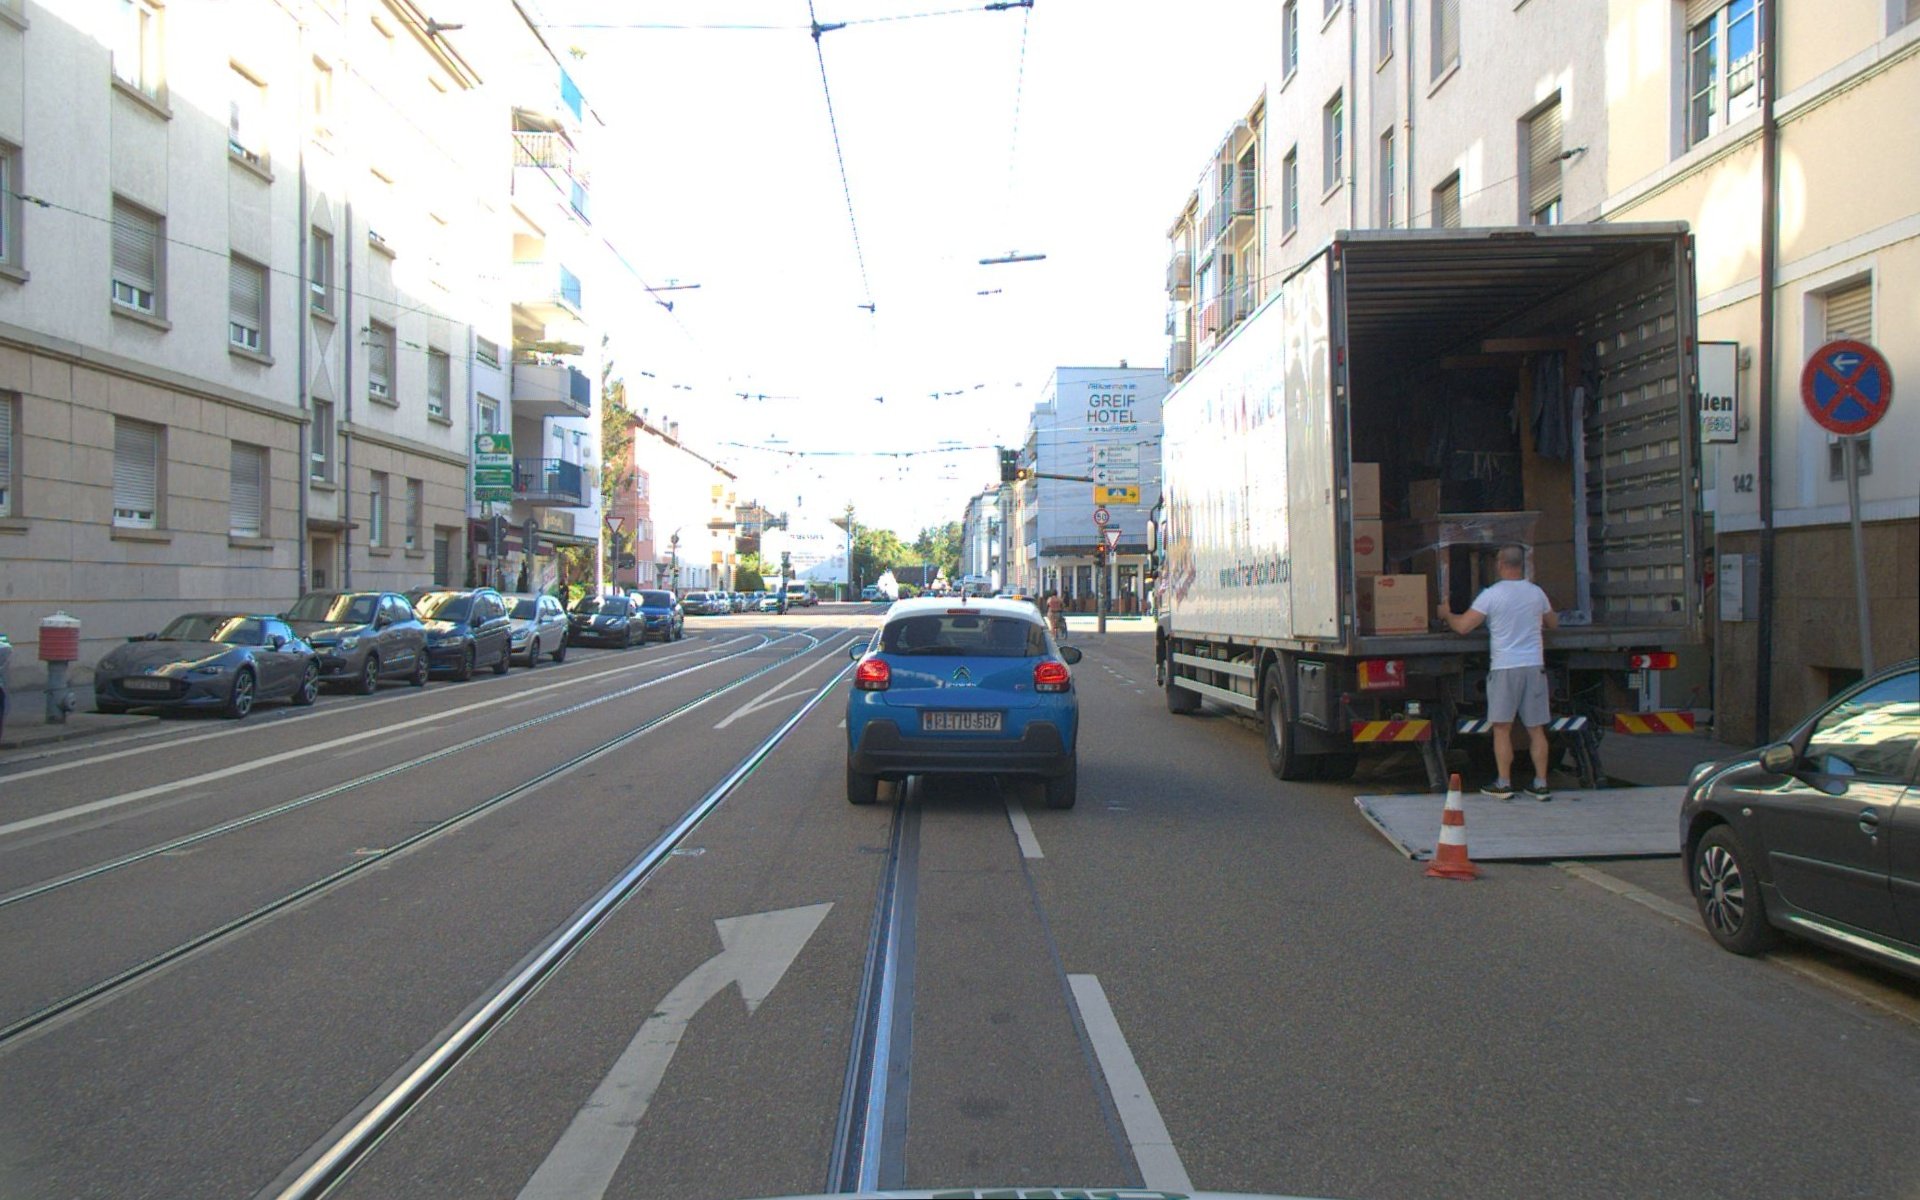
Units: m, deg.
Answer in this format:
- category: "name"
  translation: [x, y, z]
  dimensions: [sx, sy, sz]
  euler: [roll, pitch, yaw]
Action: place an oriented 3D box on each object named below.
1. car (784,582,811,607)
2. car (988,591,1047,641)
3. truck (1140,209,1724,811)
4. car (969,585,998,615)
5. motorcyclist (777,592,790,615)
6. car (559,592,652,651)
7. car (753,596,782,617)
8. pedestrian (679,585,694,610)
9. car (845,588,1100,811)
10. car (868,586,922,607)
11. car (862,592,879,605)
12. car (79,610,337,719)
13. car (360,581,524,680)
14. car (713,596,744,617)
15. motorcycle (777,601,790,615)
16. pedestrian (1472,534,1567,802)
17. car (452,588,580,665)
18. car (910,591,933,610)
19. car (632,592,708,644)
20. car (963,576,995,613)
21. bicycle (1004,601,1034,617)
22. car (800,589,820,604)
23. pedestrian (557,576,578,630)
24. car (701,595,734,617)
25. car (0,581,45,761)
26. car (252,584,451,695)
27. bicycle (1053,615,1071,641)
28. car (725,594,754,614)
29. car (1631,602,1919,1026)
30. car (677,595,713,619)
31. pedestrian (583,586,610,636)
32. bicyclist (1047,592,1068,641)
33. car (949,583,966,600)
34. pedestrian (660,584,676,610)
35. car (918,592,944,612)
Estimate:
- category: "car"
  translation: [-15.358, -0.539, 156.662]
  dimensions: [2.162, 2.290, 4.675]
  euler: [0, 0, -2]
- category: "car"
  translation: [1.734, 0.445, 50.091]
  dimensions: [1.702, 1.445, 4.001]
  euler: [0, 0, 2]
- category: "truck"
  translation: [3.900, -0.658, 17.304]
  dimensions: [2.801, 4.144, 11.779]
  euler: [0, 0, 0]
- category: "car"
  translation: [1.453, 0.004, 104.136]
  dimensions: [1.697, 1.780, 3.213]
  euler: [1, 0, -1]
- category: "motorcyclist"
  translation: [-11.116, 0.222, 104.212]
  dimensions: [0.704, 1.402, 0.912]
  euler: [0, 0, 2]
- category: "car"
  translation: [-9.920, 0.590, 46.551]
  dimensions: [1.665, 1.536, 4.311]
  euler: [2, 0, -1]
- category: "car"
  translation: [-14.923, 0.484, 128.287]
  dimensions: [1.812, 1.601, 4.399]
  euler: [1, 0, -2]
- category: "pedestrian"
  translation: [-18.886, -0.168, 114.125]
  dimensions: [0.826, 1.720, 0.738]
  euler: [0, 0, 5]
- category: "car"
  translation: [-0.038, 0.673, 13.299]
  dimensions: [1.709, 1.488, 3.997]
  euler: [2, 0, -4]
- category: "car"
  translation: [-5.224, -0.278, 132.239]
  dimensions: [3.906, 1.668, 1.814]
  euler: [0, 0, 23]
- category: "car"
  translation: [-11.203, -0.192, 206.610]
  dimensions: [1.980, 1.552, 3.999]
  euler: [0, 0, -2]
- category: "car"
  translation: [-9.563, 0.772, 21.370]
  dimensions: [1.665, 1.237, 3.784]
  euler: [2, 0, -2]
- category: "car"
  translation: [-9.484, 0.541, 30.612]
  dimensions: [1.665, 1.644, 4.243]
  euler: [2, 0, -1]
- category: "car"
  translation: [-17.257, 0.473, 123.301]
  dimensions: [1.872, 1.523, 3.999]
  euler: [0, 0, -2]
- category: "motorcycle"
  translation: [-11.121, 0.514, 104.367]
  dimensions: [0.603, 0.879, 1.671]
  euler: [0, 0, 2]
- category: "pedestrian"
  translation: [3.831, 0.456, 11.344]
  dimensions: [0.502, 1.806, 0.415]
  euler: [0, 0, -1]
- category: "car"
  translation: [-9.672, 0.571, 36.347]
  dimensions: [1.665, 1.536, 4.385]
  euler: [2, 0, -1]
- category: "car"
  translation: [-3.450, 0.016, 148.067]
  dimensions: [1.953, 1.646, 3.999]
  euler: [1, 0, -1]
- category: "car"
  translation: [-9.191, 0.558, 52.648]
  dimensions: [1.709, 1.536, 3.999]
  euler: [2, 0, -1]
- category: "car"
  translation: [1.214, -0.345, 109.067]
  dimensions: [1.953, 2.366, 3.999]
  euler: [1, 0, -1]
- category: "bicycle"
  translation: [3.718, 0.551, 103.572]
  dimensions: [1.834, 0.973, 0.702]
  euler: [0, 0, 4]
- category: "car"
  translation: [-16.465, -0.397, 182.052]
  dimensions: [1.980, 1.552, 3.999]
  euler: [0, 0, -2]
- category: "pedestrian"
  translation: [-14.844, 0.119, 62.596]
  dimensions: [0.673, 2.049, 0.486]
  euler: [0, 0, -4]
- category: "car"
  translation: [-17.063, 0.405, 116.505]
  dimensions: [1.872, 1.523, 3.999]
  euler: [0, 0, -2]
- category: "car"
  translation: [-9.327, 0.641, 13.165]
  dimensions: [1.664, 1.595, 4.405]
  euler: [0, 0, -1]
- category: "car"
  translation: [-9.597, 0.595, 26.408]
  dimensions: [1.665, 1.596, 3.999]
  euler: [2, 0, -1]
- category: "bicycle"
  translation: [3.525, 0.968, 57.160]
  dimensions: [0.488, 0.879, 1.749]
  euler: [0, 0, 0]
- category: "car"
  translation: [-17.223, 0.310, 129.445]
  dimensions: [1.872, 1.523, 3.999]
  euler: [0, 0, -2]
- category: "car"
  translation: [4.216, 0.776, 6.391]
  dimensions: [1.550, 1.489, 3.879]
  euler: [-1, 0, -2]
- category: "car"
  translation: [-16.956, 0.447, 106.139]
  dimensions: [1.873, 1.458, 3.997]
  euler: [0, 0, -3]
- category: "pedestrian"
  translation: [-11.459, 0.338, 52.166]
  dimensions: [0.683, 1.575, 0.721]
  euler: [0, 1, 2]
- category: "bicyclist"
  translation: [3.342, 0.575, 56.814]
  dimensions: [0.711, 1.674, 0.790]
  euler: [0, 0, 2]
- category: "car"
  translation: [-0.278, -0.883, 168.177]
  dimensions: [1.654, 1.646, 4.000]
  euler: [1, 0, 0]
- category: "pedestrian"
  translation: [-18.930, -0.190, 107.152]
  dimensions: [0.826, 1.720, 0.738]
  euler: [0, 0, 5]
- category: "car"
  translation: [-2.250, 0.166, 127.430]
  dimensions: [1.953, 1.534, 3.999]
  euler: [0, 0, -1]
